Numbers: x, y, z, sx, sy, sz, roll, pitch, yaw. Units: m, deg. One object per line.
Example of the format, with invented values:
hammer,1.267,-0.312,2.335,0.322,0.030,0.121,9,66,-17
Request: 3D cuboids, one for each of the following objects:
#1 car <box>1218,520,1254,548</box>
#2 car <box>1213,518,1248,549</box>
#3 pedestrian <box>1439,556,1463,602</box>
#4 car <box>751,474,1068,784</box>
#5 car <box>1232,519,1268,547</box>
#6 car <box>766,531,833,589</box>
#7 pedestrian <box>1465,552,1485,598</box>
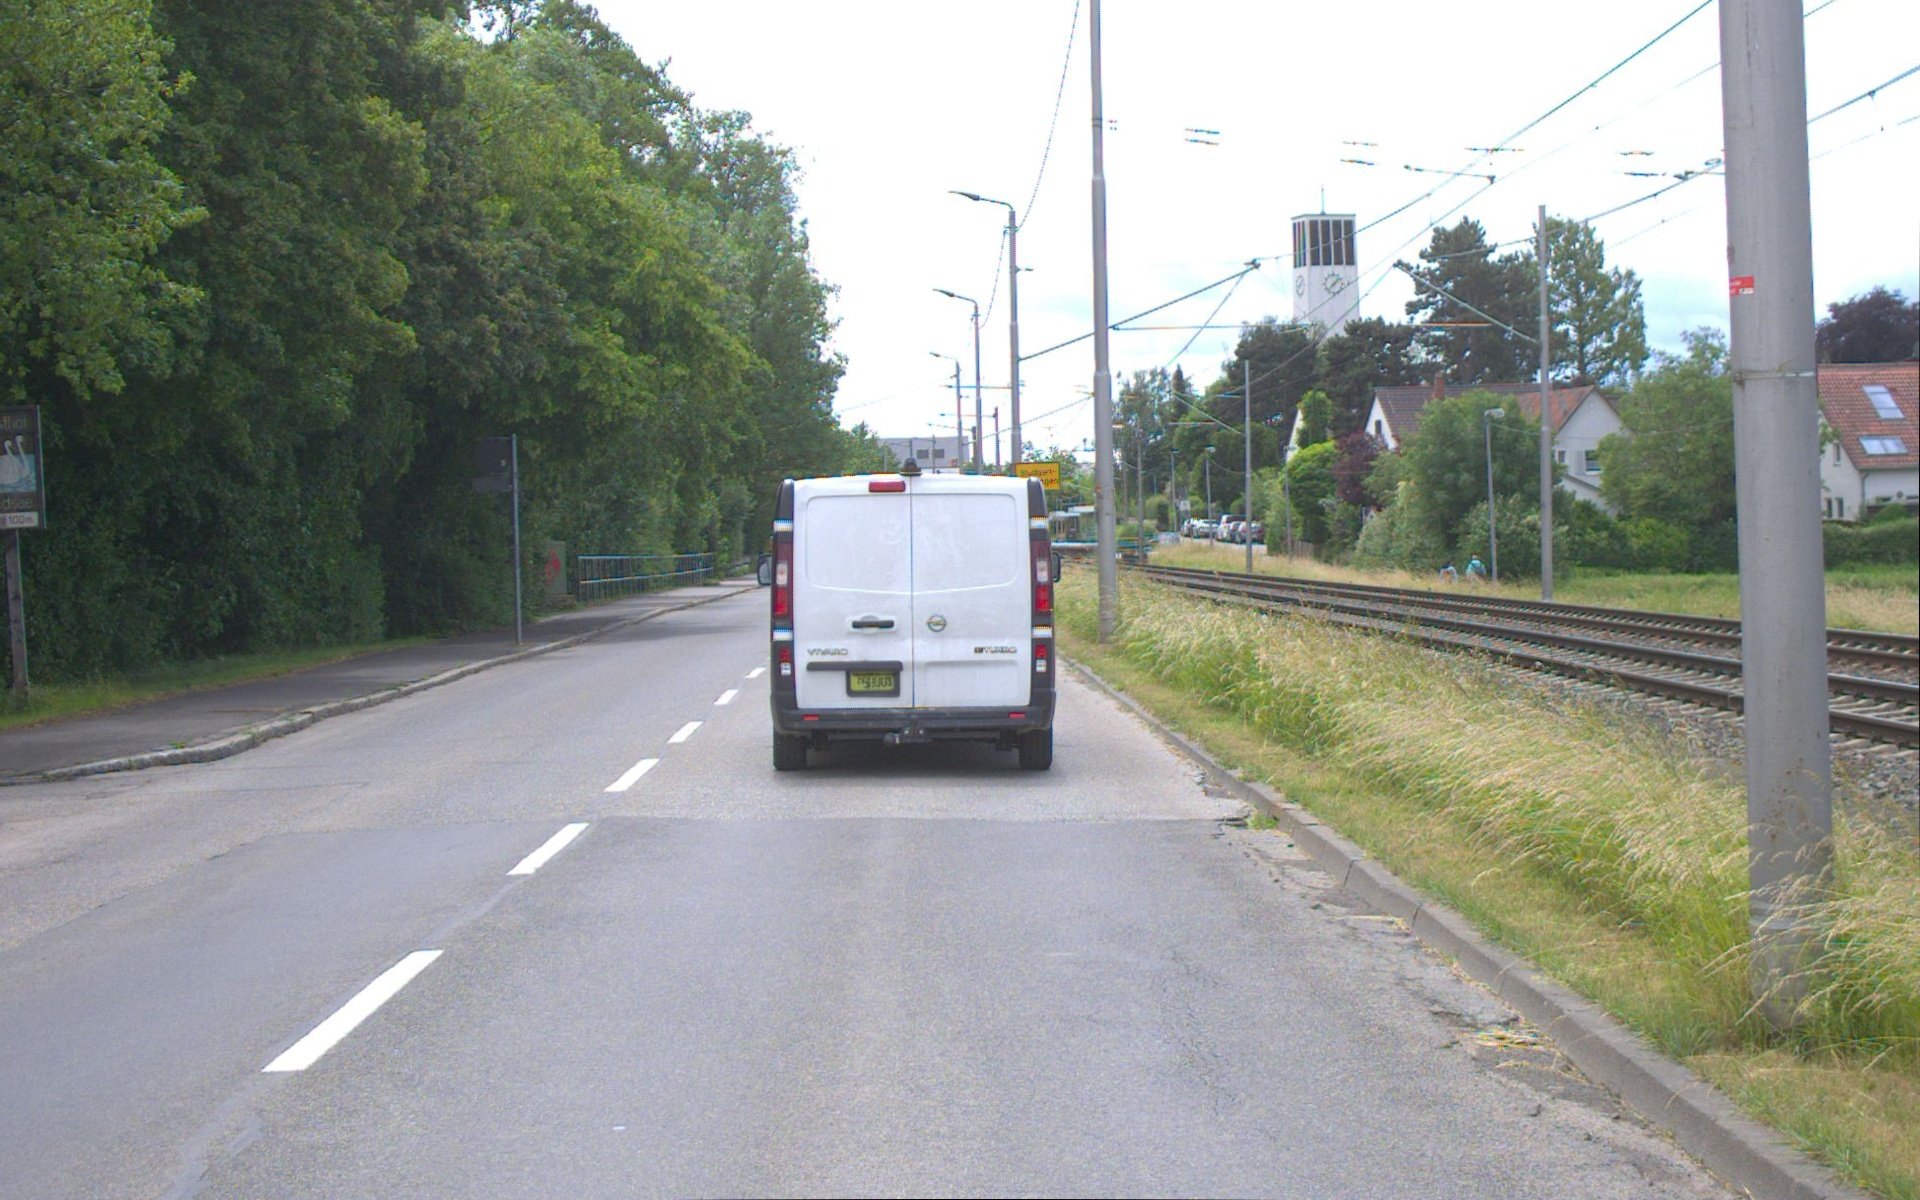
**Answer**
car,19.015,-4.533,236.816,1.993,1.810,4.000,1,-1,-2
car,18.936,-4.660,241.160,1.993,2.007,4.000,1,-1,-2
pedestrian,16.427,-0.711,115.078,0.656,1.501,0.657,-1,1,-1
car,-0.381,0.131,23.702,1.993,1.950,4.001,0,1,-2
car,19.451,-4.489,230.781,1.993,1.711,4.000,1,-1,-2
car,-4.894,-1.222,105.083,1.993,1.711,4.124,-1,1,-2
pedestrian,17.186,-0.831,114.673,0.526,1.501,0.657,-1,1,-1
